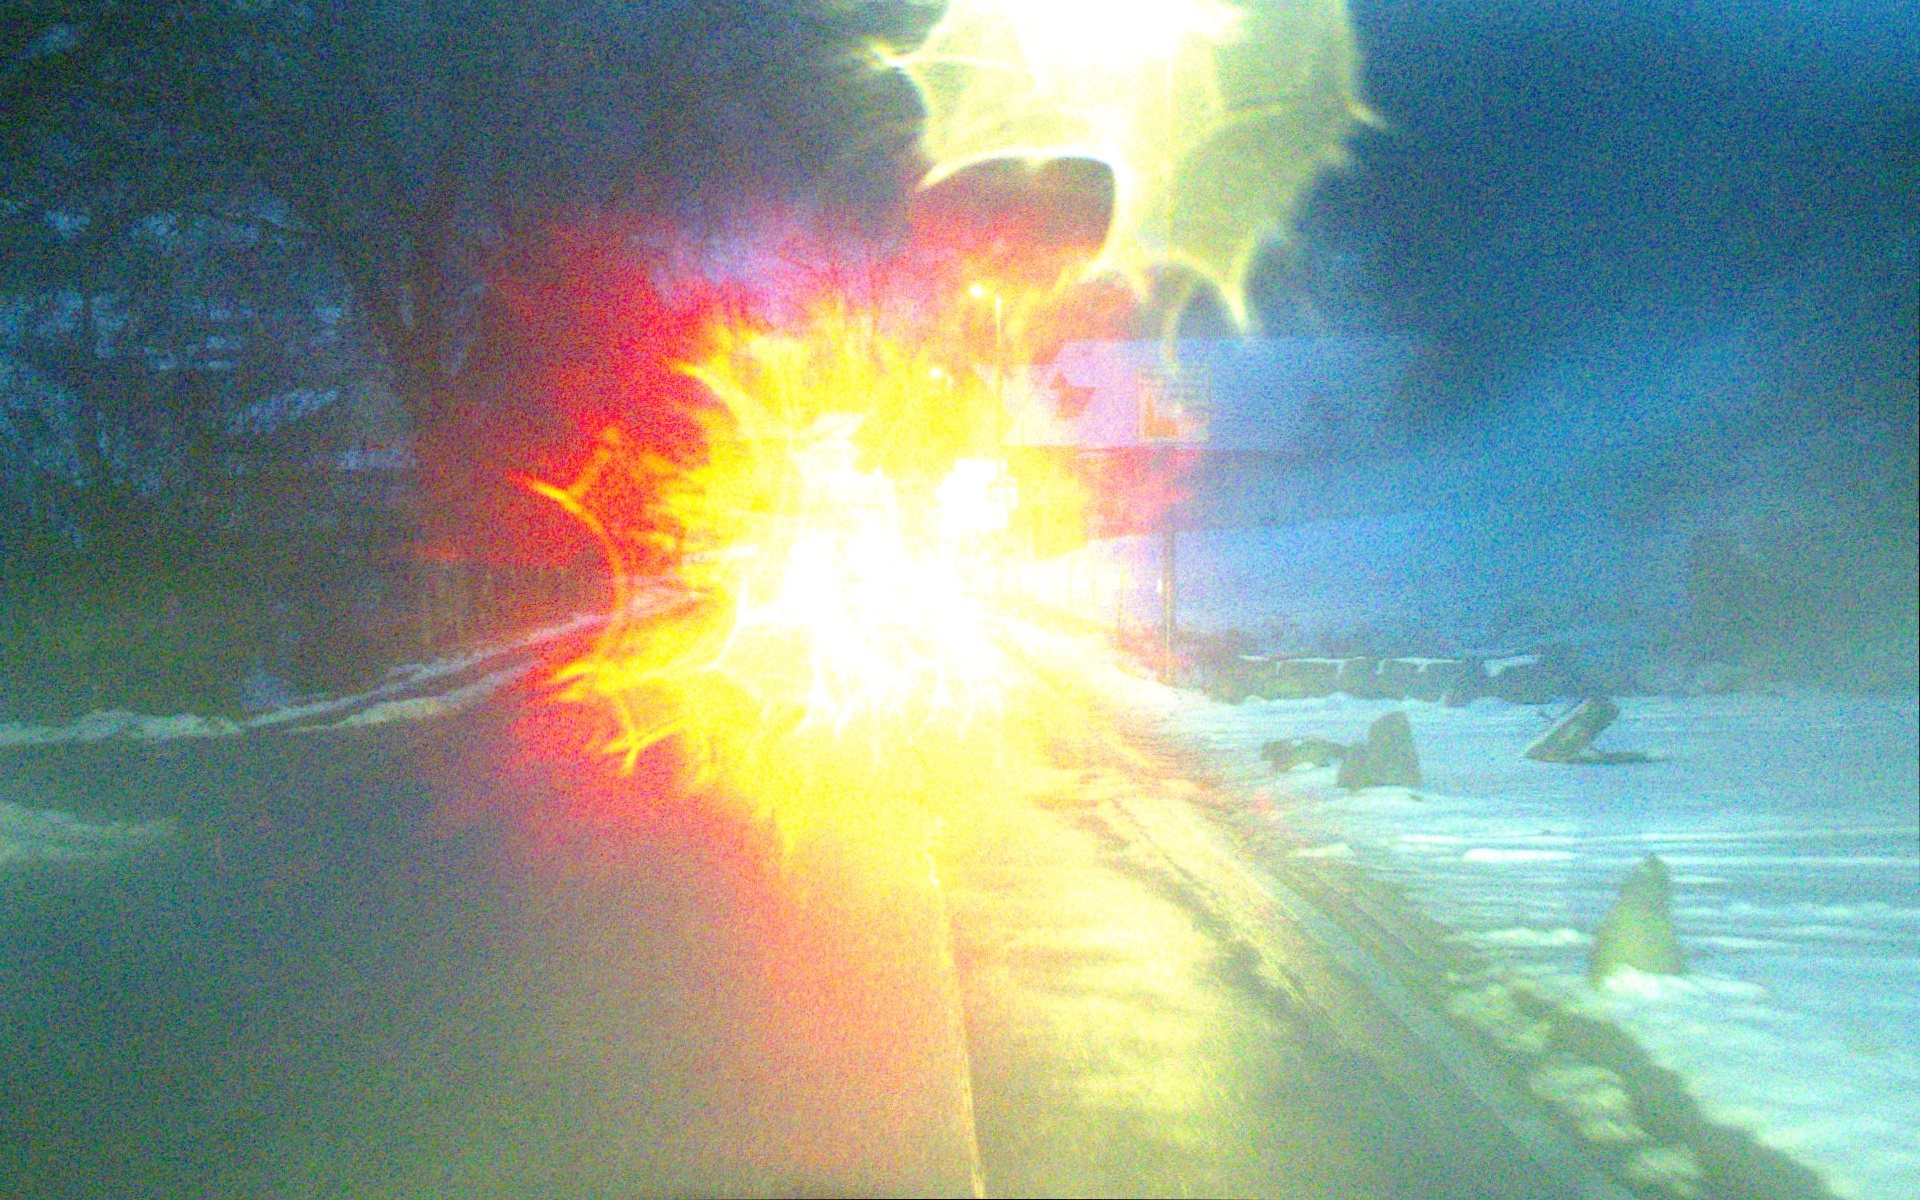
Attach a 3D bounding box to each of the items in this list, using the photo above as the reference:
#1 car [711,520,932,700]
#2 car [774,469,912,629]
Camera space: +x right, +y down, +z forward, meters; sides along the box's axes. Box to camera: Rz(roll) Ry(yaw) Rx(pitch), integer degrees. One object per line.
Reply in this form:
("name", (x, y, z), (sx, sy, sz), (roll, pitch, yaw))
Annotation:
("car", (-1.495, 0.069, 38.263), (2.274, 1.834, 5.007), (-1, 1, -1))
("car", (-2.291, -0.952, 68.811), (2.435, 3.008, 5.325), (-1, -1, 1))
